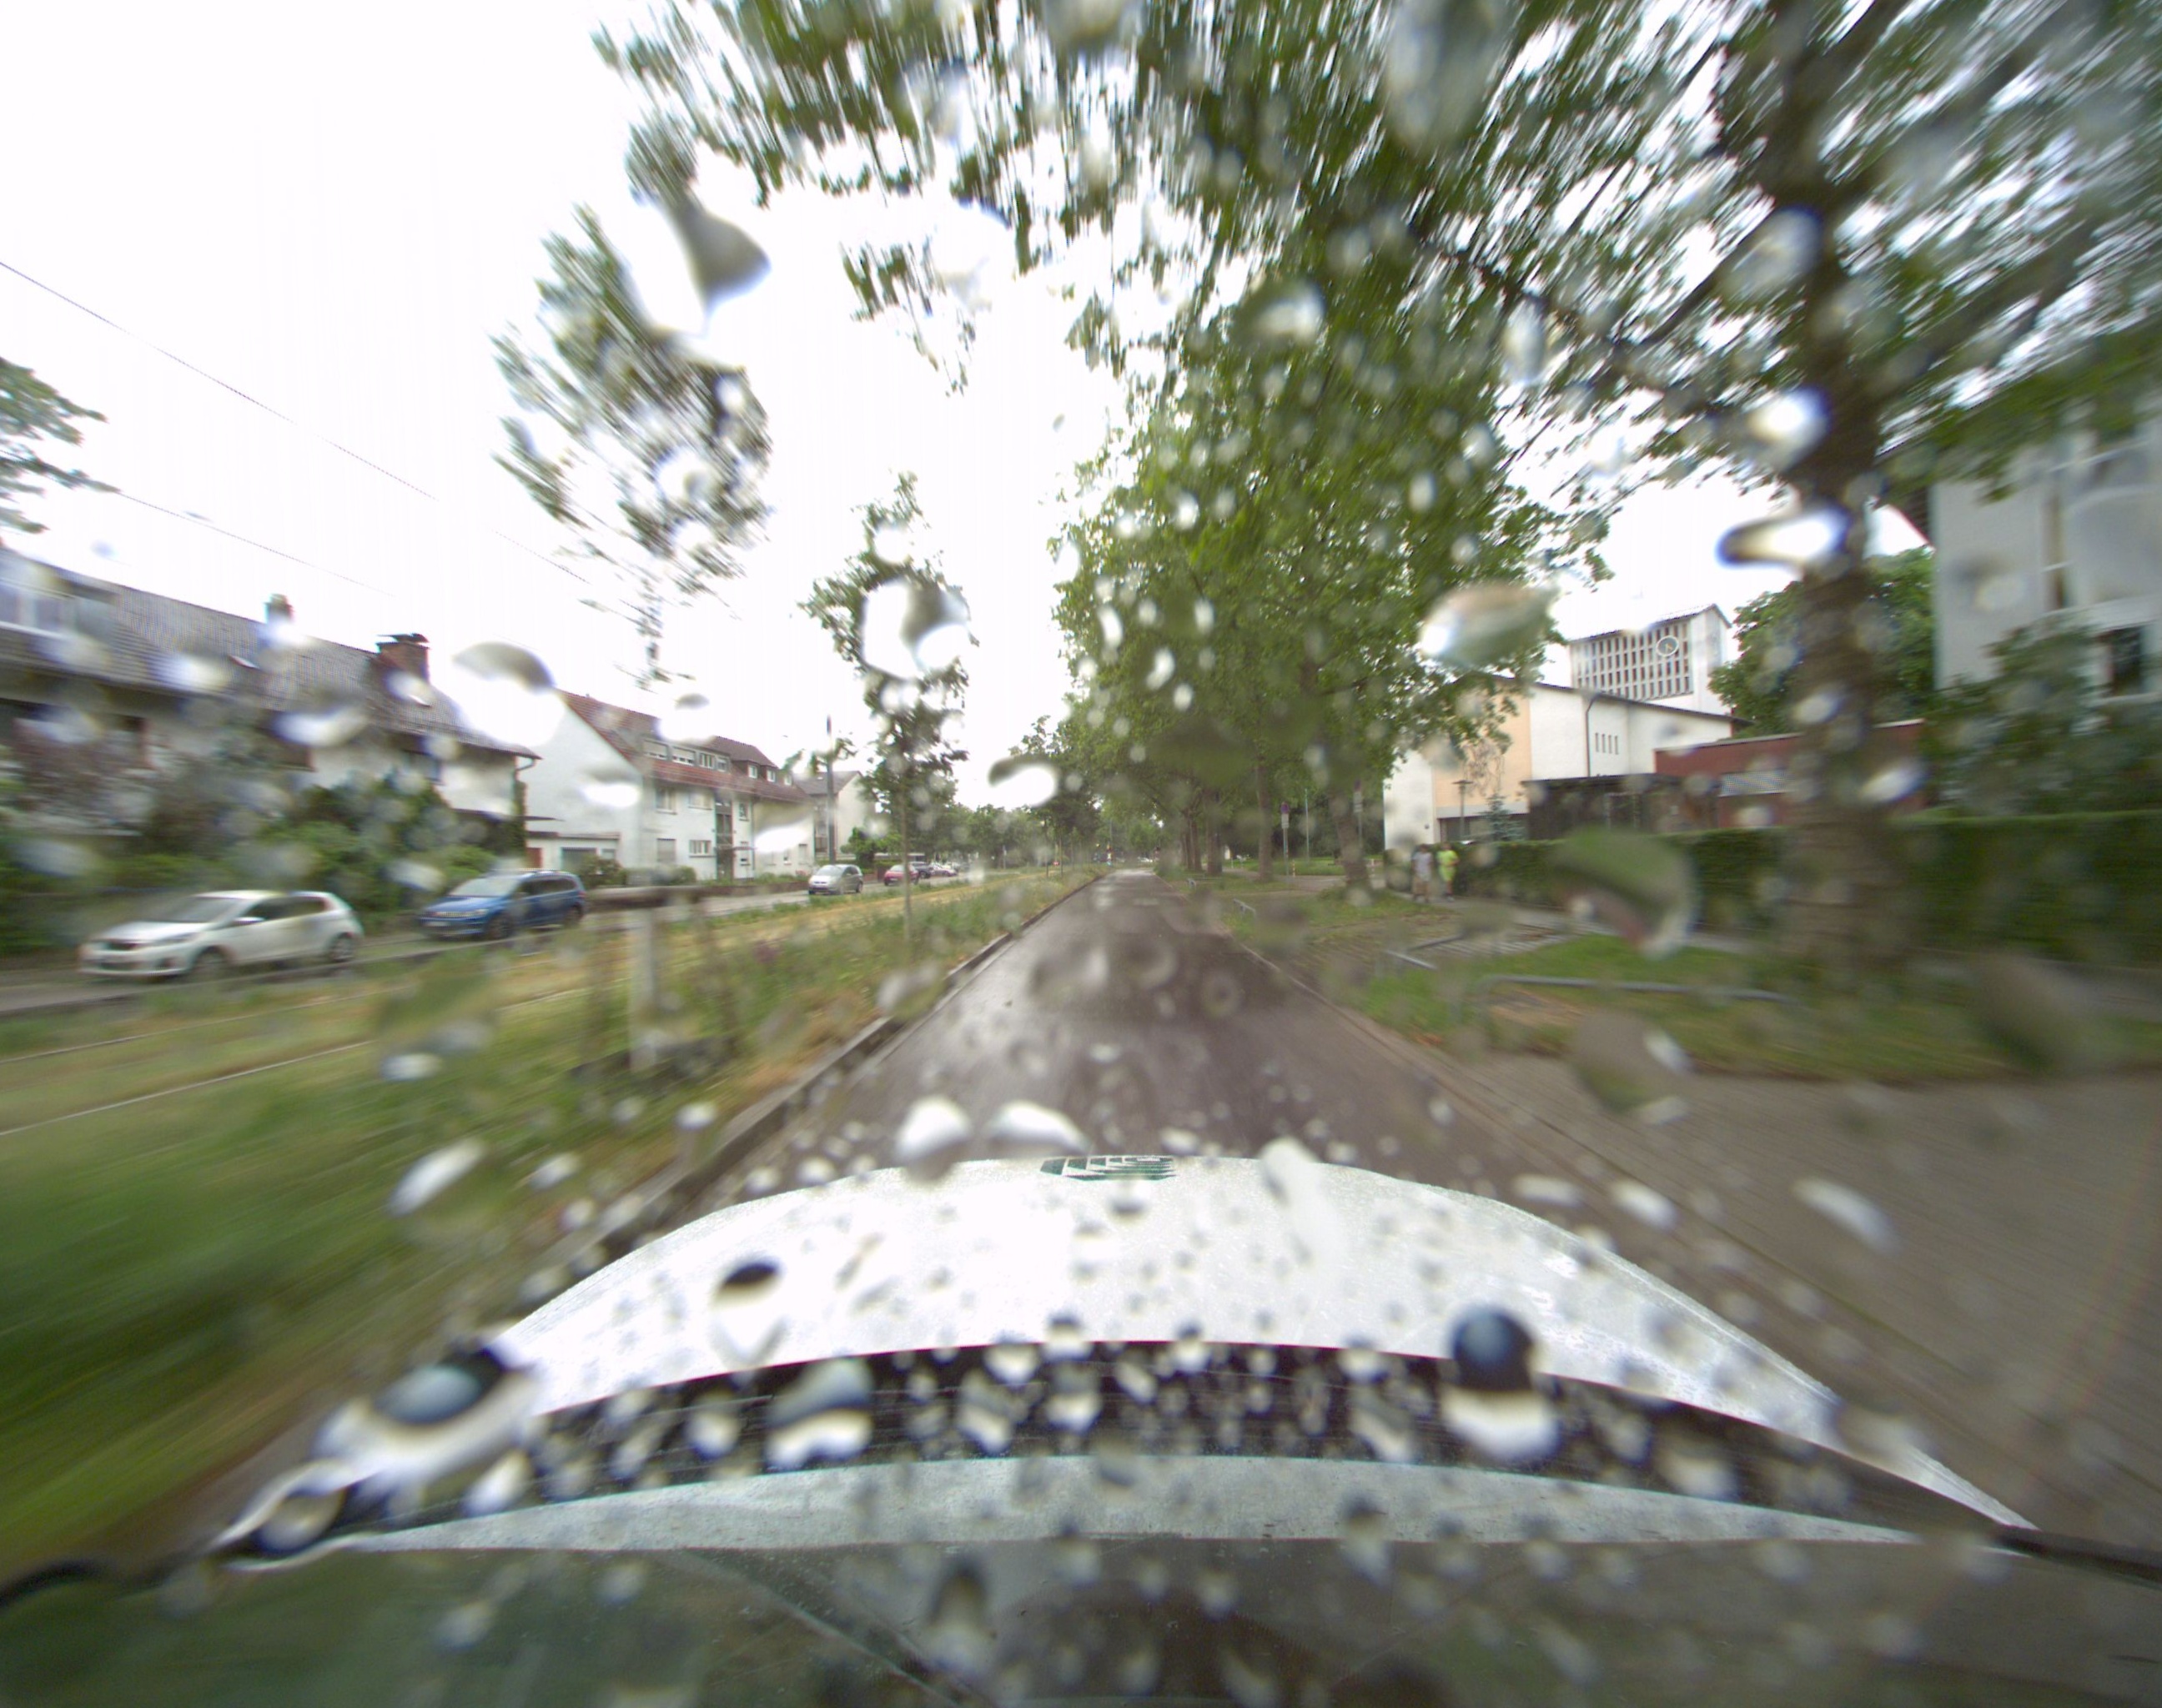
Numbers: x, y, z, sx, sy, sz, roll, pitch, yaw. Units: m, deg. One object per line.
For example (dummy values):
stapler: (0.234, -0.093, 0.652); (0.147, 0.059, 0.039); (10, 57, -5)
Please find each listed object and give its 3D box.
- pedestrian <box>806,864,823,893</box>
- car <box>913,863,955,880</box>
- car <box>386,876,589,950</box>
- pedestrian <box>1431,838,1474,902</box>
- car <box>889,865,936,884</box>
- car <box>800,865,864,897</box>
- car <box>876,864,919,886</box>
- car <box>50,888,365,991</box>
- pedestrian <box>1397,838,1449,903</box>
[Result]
pedestrian: (-16.223, 1.483, 49.581); (0.699, 1.755, 0.855); (-2, -1, 3)
car: (-15.536, 1.831, 86.121); (3.974, 1.617, 2.000); (-3, 0, 0)
car: (-15.451, 1.465, 21.577); (1.985, 1.614, 4.416); (0, 0, 3)
pedestrian: (9.277, 0.401, 20.381); (0.555, 1.538, 0.966); (-2, -1, -2)
car: (-16.116, 1.922, 77.977); (3.974, 1.617, 2.000); (-3, 0, 0)
car: (-13.708, 1.456, 45.178); (1.985, 1.581, 4.520); (0, 0, 3)
car: (-13.269, 1.512, 59.194); (1.985, 1.488, 4.208); (0, 0, 2)
car: (-15.643, 1.445, 14.904); (1.789, 1.488, 3.599); (0, 0, 2)
pedestrian: (8.514, 0.405, 20.290); (0.831, 1.538, 0.859); (-3, -1, -2)
